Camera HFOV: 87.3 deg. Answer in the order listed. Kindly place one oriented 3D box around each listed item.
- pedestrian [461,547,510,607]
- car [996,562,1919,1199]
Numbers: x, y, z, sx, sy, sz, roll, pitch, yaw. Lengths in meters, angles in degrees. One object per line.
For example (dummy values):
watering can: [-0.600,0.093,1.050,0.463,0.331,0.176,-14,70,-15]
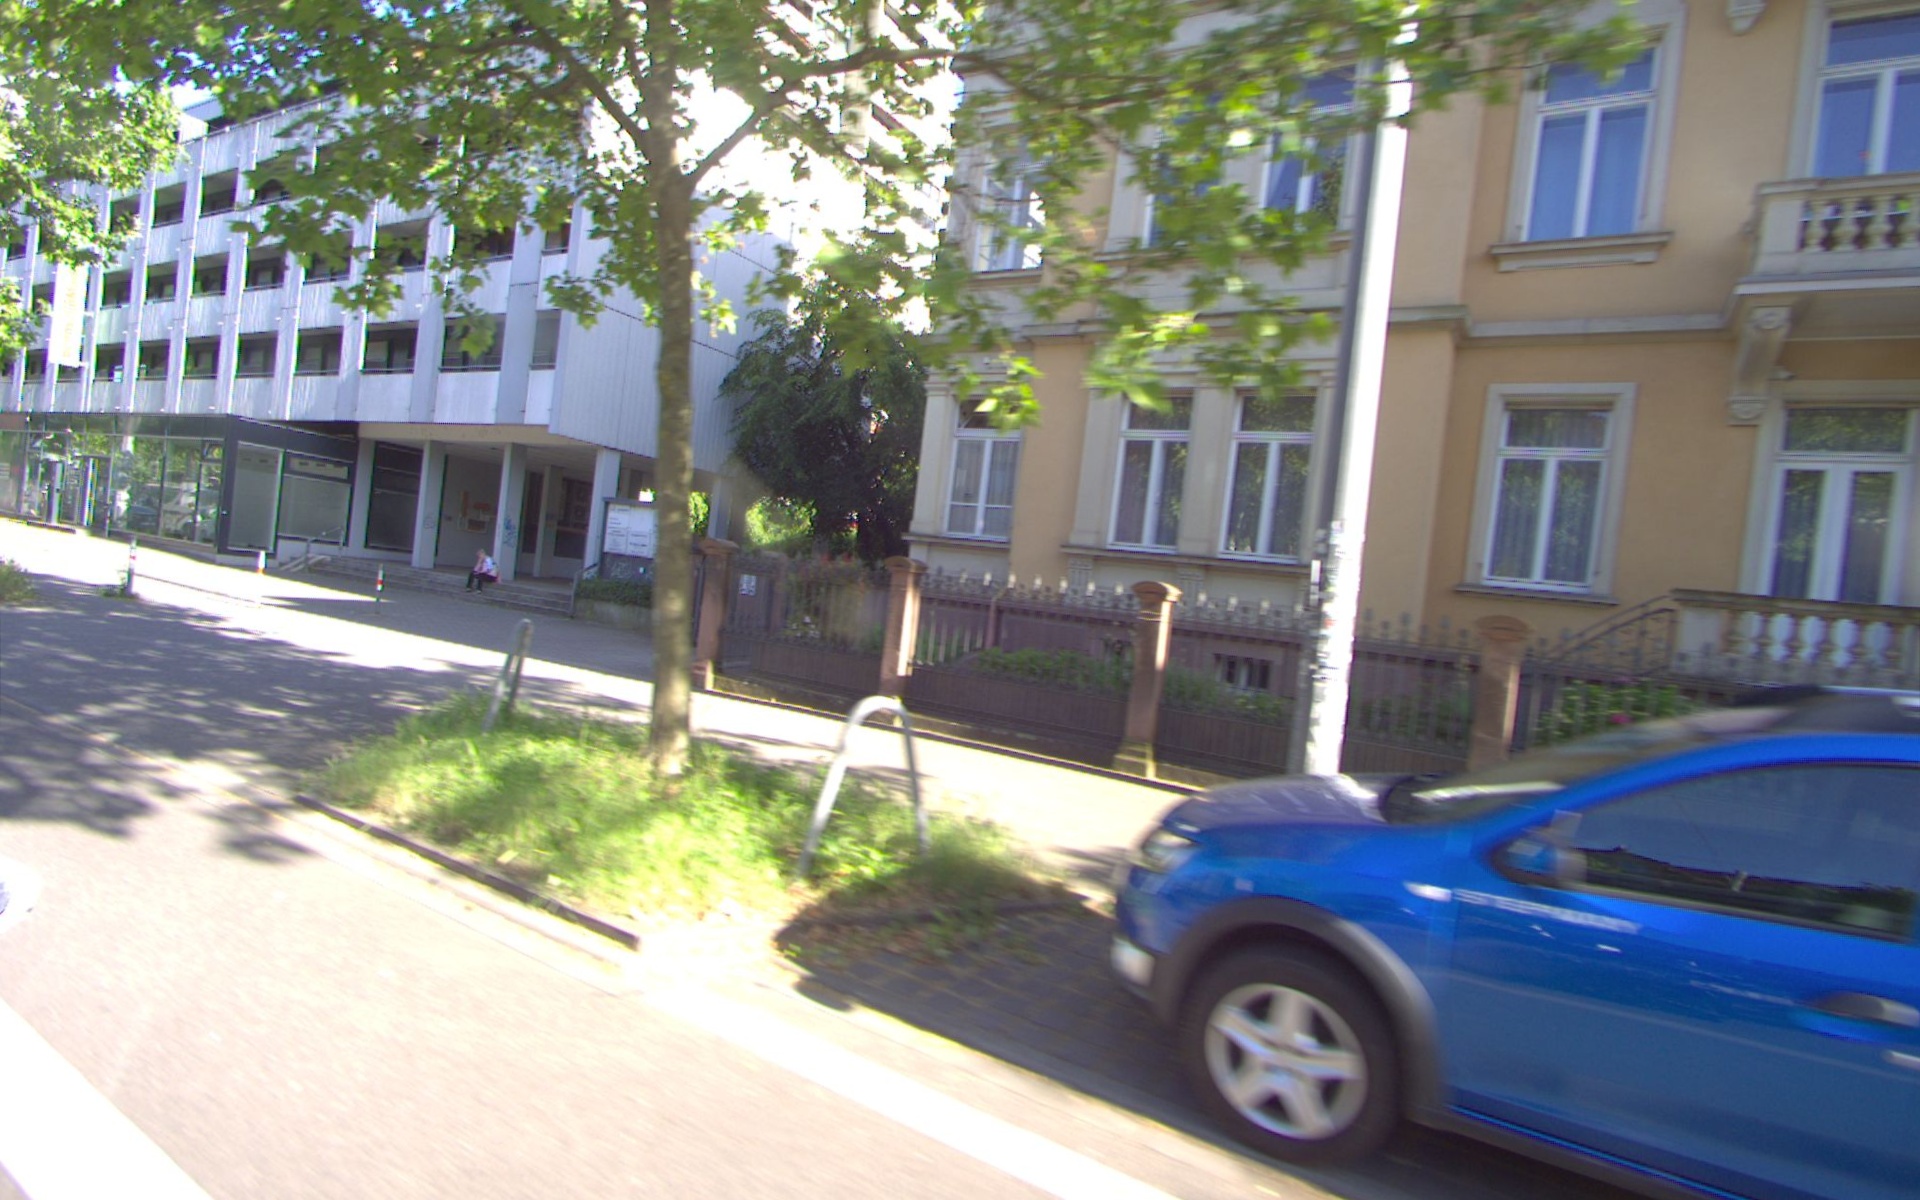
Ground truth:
pedestrian: [-11.888,-0.570,25.212,0.732,1.373,0.718,7,-1,39]
car: [2.335,0.989,3.172,3.972,1.678,1.694,8,0,32]
